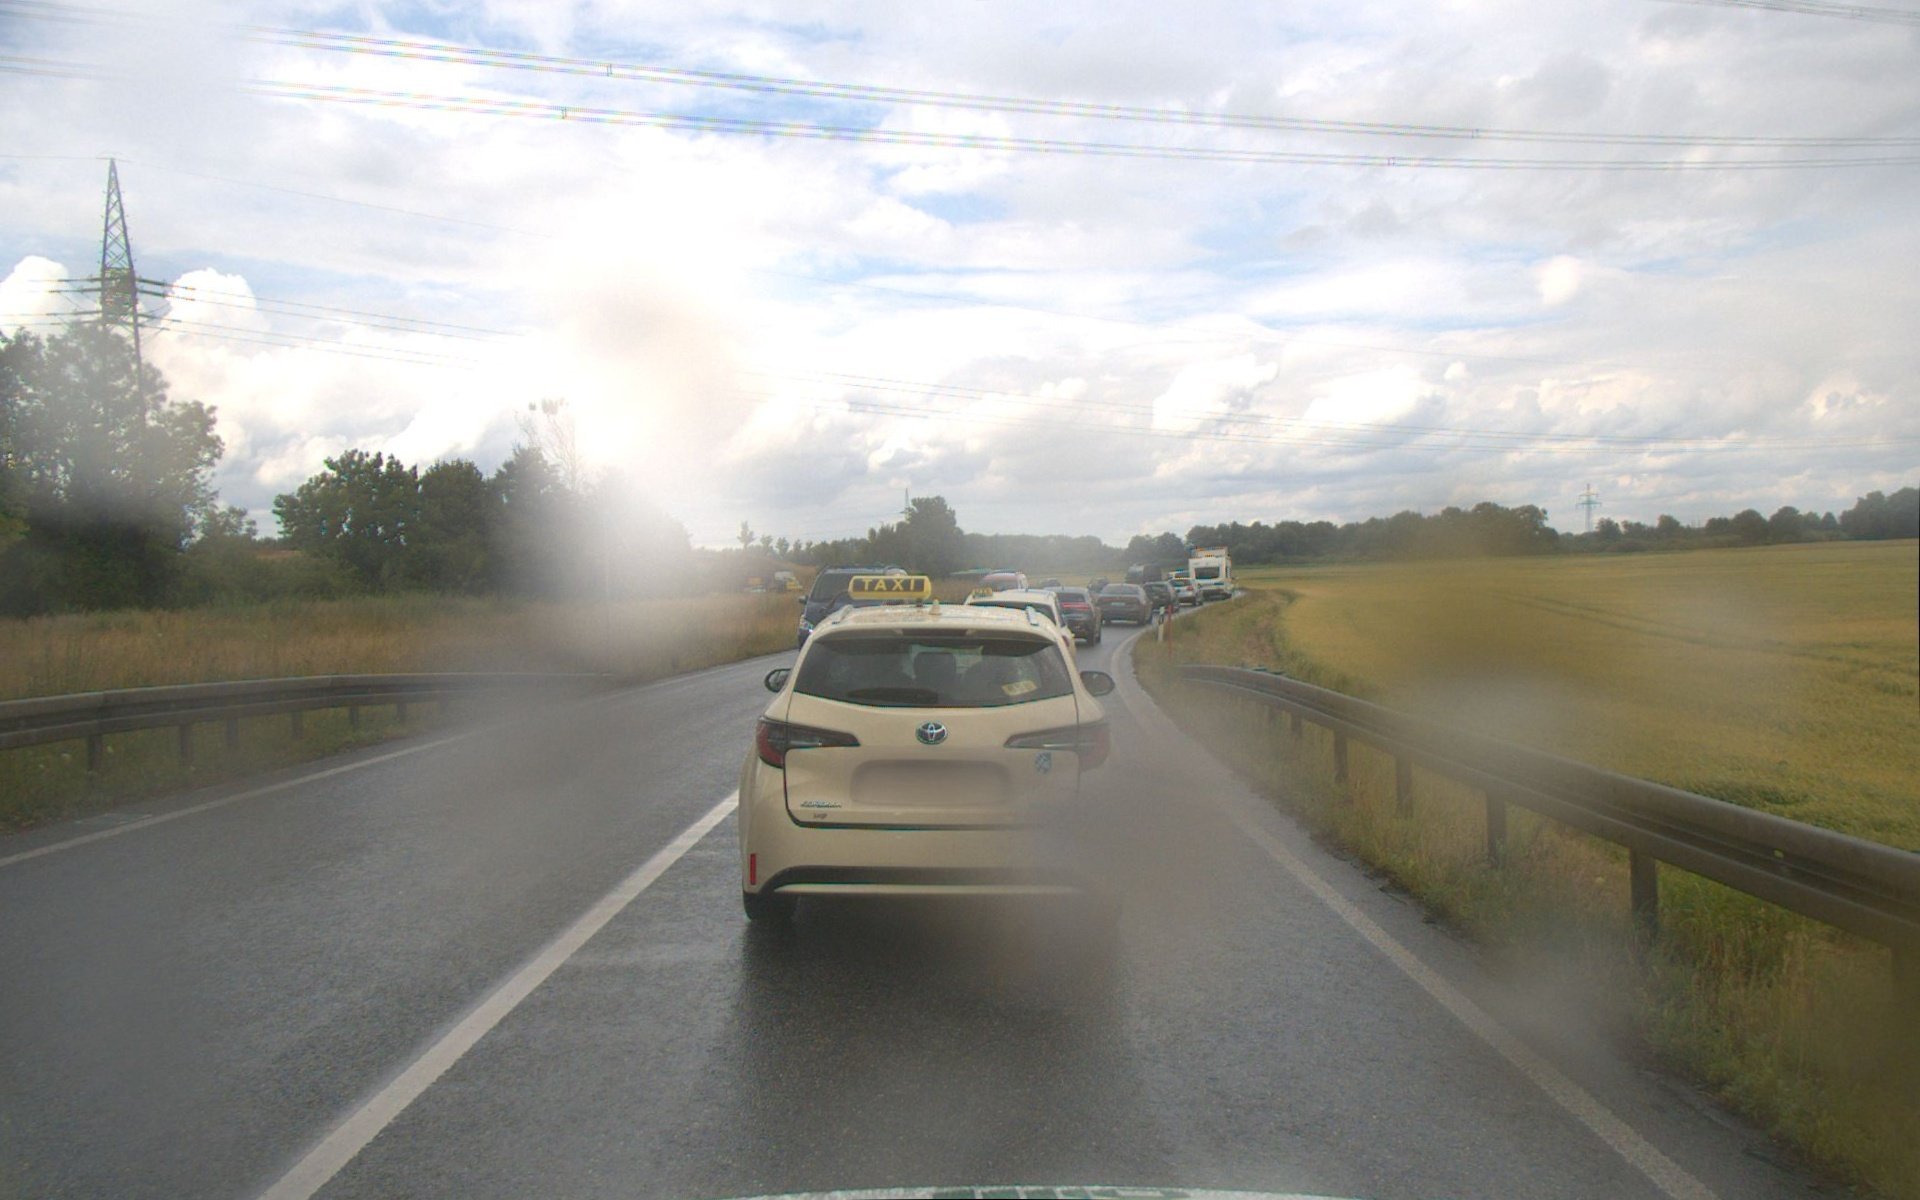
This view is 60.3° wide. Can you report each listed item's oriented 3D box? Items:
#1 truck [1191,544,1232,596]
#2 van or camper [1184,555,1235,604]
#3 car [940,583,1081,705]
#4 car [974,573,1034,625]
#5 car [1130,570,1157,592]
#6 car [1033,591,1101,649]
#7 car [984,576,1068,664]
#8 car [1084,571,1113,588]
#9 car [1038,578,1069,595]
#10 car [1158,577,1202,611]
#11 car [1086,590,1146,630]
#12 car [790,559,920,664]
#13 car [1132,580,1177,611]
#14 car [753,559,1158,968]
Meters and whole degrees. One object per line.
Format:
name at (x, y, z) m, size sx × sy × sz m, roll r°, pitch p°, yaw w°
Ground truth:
truck at (20.113, -2.356, 132.352) m, size 3.060 × 3.919 × 7.392 m, roll 1°, pitch 0°, yaw 8°
van or camper at (15.685, -1.307, 103.784) m, size 2.482 × 2.946 × 6.748 m, roll 1°, pitch 1°, yaw 14°
car at (0.795, 0.536, 23.528) m, size 1.802 × 1.518 × 4.610 m, roll 1°, pitch 1°, yaw 4°
car at (1.698, -0.032, 62.077) m, size 1.763 × 1.883 × 4.524 m, roll 0°, pitch 0°, yaw 8°
car at (18.266, -1.874, 164.958) m, size 1.707 × 2.049 × 4.139 m, roll 1°, pitch 0°, yaw -9°
car at (2.887, 0.519, 44.153) m, size 1.578 × 1.438 × 3.741 m, roll 1°, pitch 0°, yaw 7°
car at (1.411, 0.406, 34.180) m, size 1.579 × 1.688 × 3.740 m, roll 1°, pitch 0°, yaw 5°
car at (15.244, -2.233, 182.366) m, size 1.960 × 1.798 × 4.092 m, roll 1°, pitch 0°, yaw -14°
car at (10.997, -1.580, 194.439) m, size 1.887 × 2.049 × 4.099 m, roll 1°, pitch 0°, yaw -25°
car at (11.830, -0.310, 88.770) m, size 1.918 × 1.759 × 3.741 m, roll 1°, pitch 0°, yaw 14°
car at (5.875, 0.372, 61.796) m, size 1.918 × 1.438 × 4.396 m, roll 1°, pitch 0°, yaw 9°
car at (-2.142, 0.237, 35.169) m, size 1.920 × 2.049 × 4.864 m, roll 1°, pitch 0°, yaw 6°
car at (9.242, -0.191, 78.492) m, size 1.786 × 1.438 × 3.741 m, roll 1°, pitch 0°, yaw 12°
car at (-0.021, 0.656, 8.417) m, size 1.580 × 1.589 × 3.738 m, roll 1°, pitch 0°, yaw 0°
